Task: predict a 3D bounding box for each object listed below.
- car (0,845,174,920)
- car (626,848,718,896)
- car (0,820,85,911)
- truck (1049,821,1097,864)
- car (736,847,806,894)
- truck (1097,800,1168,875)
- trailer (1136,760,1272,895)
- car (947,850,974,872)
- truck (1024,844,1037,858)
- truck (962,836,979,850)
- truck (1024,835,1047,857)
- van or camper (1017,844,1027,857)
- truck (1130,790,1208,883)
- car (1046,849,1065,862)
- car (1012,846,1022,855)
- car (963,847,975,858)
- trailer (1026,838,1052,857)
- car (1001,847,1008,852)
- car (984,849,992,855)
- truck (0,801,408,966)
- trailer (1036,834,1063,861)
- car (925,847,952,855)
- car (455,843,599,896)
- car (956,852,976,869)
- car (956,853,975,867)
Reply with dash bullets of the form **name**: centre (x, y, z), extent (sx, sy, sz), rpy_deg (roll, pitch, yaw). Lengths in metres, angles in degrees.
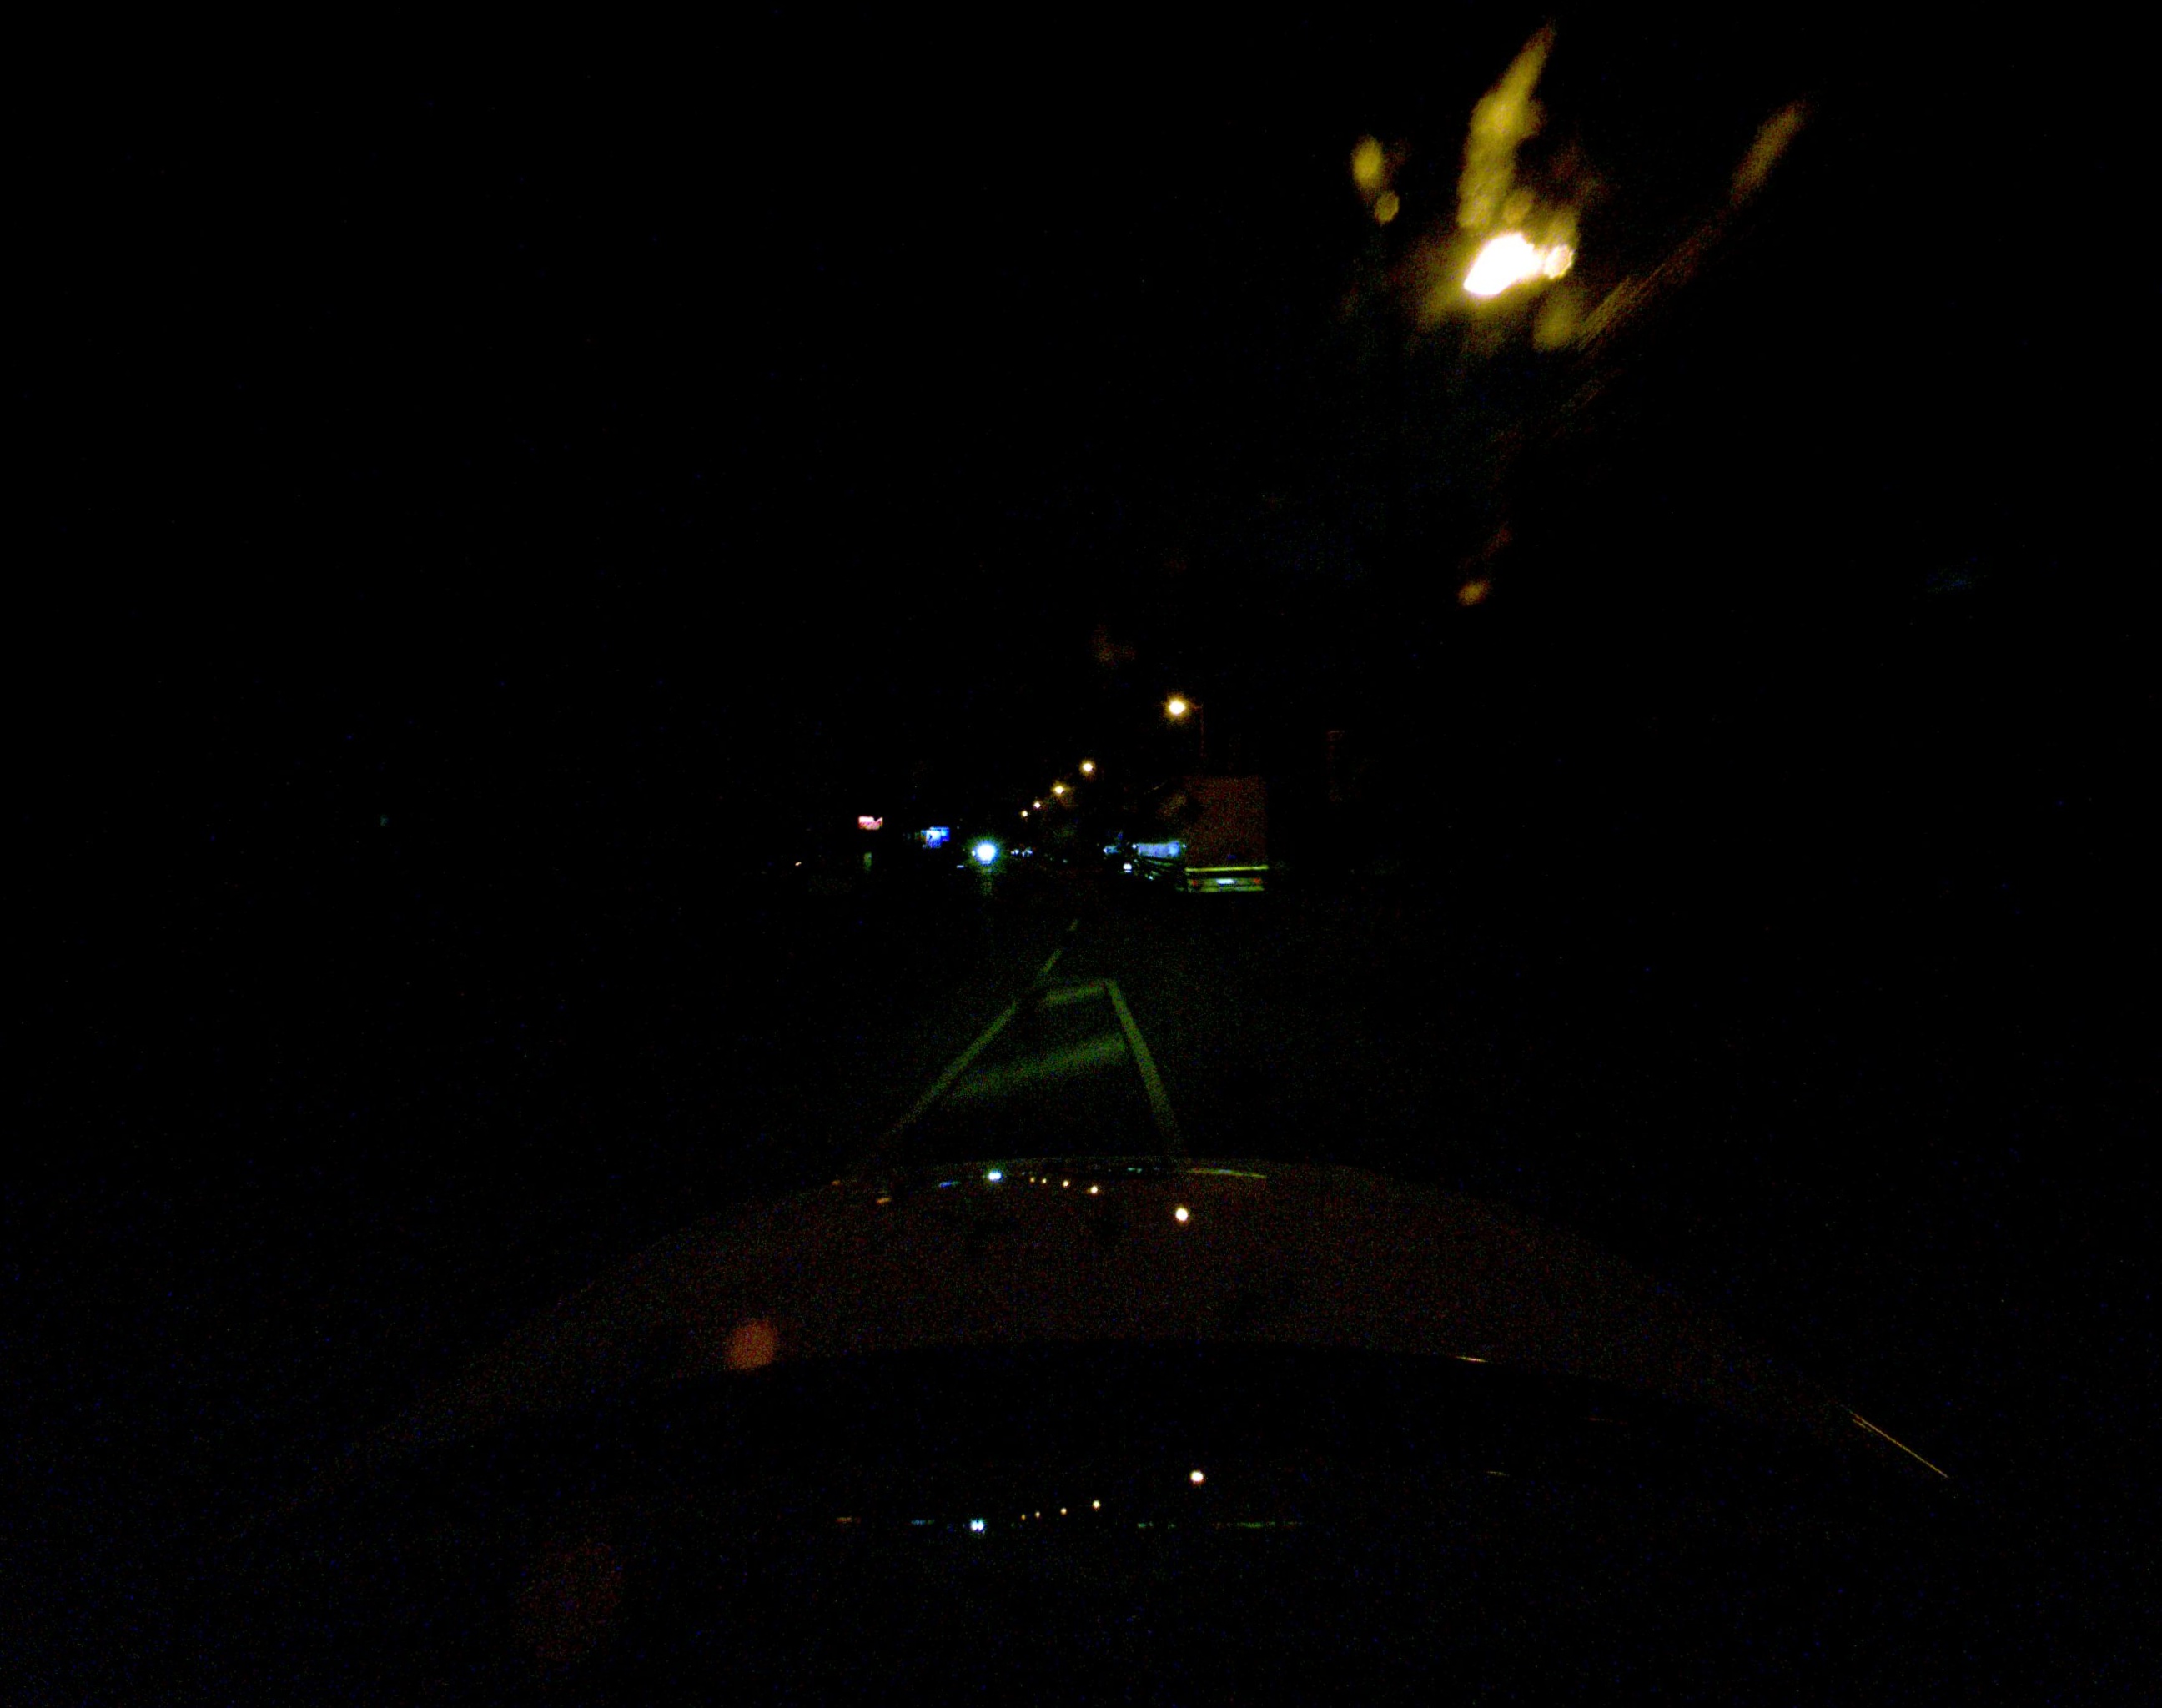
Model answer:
- **car**: centre (-22.156, 0.555, 16.880), extent (1.839, 1.464, 4.607), rpy_deg (0, 0, -6)
- **car**: centre (-13.936, 0.557, 28.022), extent (1.830, 1.494, 4.507), rpy_deg (0, 0, -13)
- **car**: centre (-24.835, 0.261, 17.309), extent (1.993, 2.013, 4.673), rpy_deg (0, 0, -9)
- **truck**: centre (-0.922, -1.096, 82.095), extent (3.518, 3.983, 10.315), rpy_deg (-2, 0, -7)
- **car**: centre (-10.631, 0.509, 28.205), extent (1.831, 1.494, 4.504), rpy_deg (0, 0, -16)
- **truck**: centre (2.893, -0.905, 49.054), extent (2.825, 3.983, 10.326), rpy_deg (-2, 0, -4)
- **trailer**: centre (4.177, -0.805, 31.537), extent (2.801, 3.983, 13.967), rpy_deg (-2, 0, -1)
- **car**: centre (-9.265, 0.527, 62.825), extent (1.992, 1.636, 4.760), rpy_deg (0, 0, -8)
- **truck**: centre (-9.095, -0.578, 145.673), extent (1.992, 2.407, 5.280), rpy_deg (0, 0, -7)
- **truck**: centre (-29.147, -2.834, 215.124), extent (3.894, 3.621, 8.225), rpy_deg (0, 0, -12)
- **truck**: centre (-7.491, -1.239, 133.643), extent (3.148, 3.463, 6.657), rpy_deg (-2, 0, -7)
- **van or camper**: centre (-12.134, -0.793, 167.142), extent (1.991, 2.581, 4.904), rpy_deg (0, 0, -6)
- **truck**: centre (4.035, -0.776, 38.598), extent (2.822, 3.983, 6.046), rpy_deg (-2, 0, -2)
- **car**: centre (-3.062, 0.212, 97.399), extent (1.851, 1.519, 3.809), rpy_deg (-2, 0, -7)
- **car**: centre (-14.771, -0.852, 187.320), extent (1.992, 2.145, 3.990), rpy_deg (0, 0, -7)
- **car**: centre (-19.113, -0.228, 138.942), extent (1.992, 1.794, 3.990), rpy_deg (0, 0, -7)
- **trailer**: centre (-6.615, -0.889, 126.572), extent (3.181, 2.749, 10.689), rpy_deg (-2, 0, -7)
- **car**: centre (-22.203, -1.301, 237.008), extent (1.992, 1.684, 3.990), rpy_deg (0, 0, -7)
- **car**: centre (-25.169, -0.516, 219.722), extent (1.992, 1.398, 3.990), rpy_deg (0, 0, -7)
- **truck**: centre (-13.290, 0.344, 12.023), extent (1.984, 1.900, 5.323), rpy_deg (0, 0, 4)
- **trailer**: centre (-4.375, -0.869, 110.255), extent (2.686, 3.464, 7.783), rpy_deg (0, 0, -9)
- **car**: centre (-27.056, -0.659, 154.347), extent (4.642, 1.485, 1.981), rpy_deg (0, 0, -30)
- **car**: centre (-18.085, 0.476, 26.915), extent (1.826, 1.581, 4.943), rpy_deg (0, 0, -7)
- **car**: centre (-9.654, 0.538, 68.447), extent (1.600, 1.354, 3.990), rpy_deg (0, 0, -8)
- **car**: centre (-12.329, 0.613, 87.110), extent (1.839, 1.420, 3.990), rpy_deg (0, 0, -7)
